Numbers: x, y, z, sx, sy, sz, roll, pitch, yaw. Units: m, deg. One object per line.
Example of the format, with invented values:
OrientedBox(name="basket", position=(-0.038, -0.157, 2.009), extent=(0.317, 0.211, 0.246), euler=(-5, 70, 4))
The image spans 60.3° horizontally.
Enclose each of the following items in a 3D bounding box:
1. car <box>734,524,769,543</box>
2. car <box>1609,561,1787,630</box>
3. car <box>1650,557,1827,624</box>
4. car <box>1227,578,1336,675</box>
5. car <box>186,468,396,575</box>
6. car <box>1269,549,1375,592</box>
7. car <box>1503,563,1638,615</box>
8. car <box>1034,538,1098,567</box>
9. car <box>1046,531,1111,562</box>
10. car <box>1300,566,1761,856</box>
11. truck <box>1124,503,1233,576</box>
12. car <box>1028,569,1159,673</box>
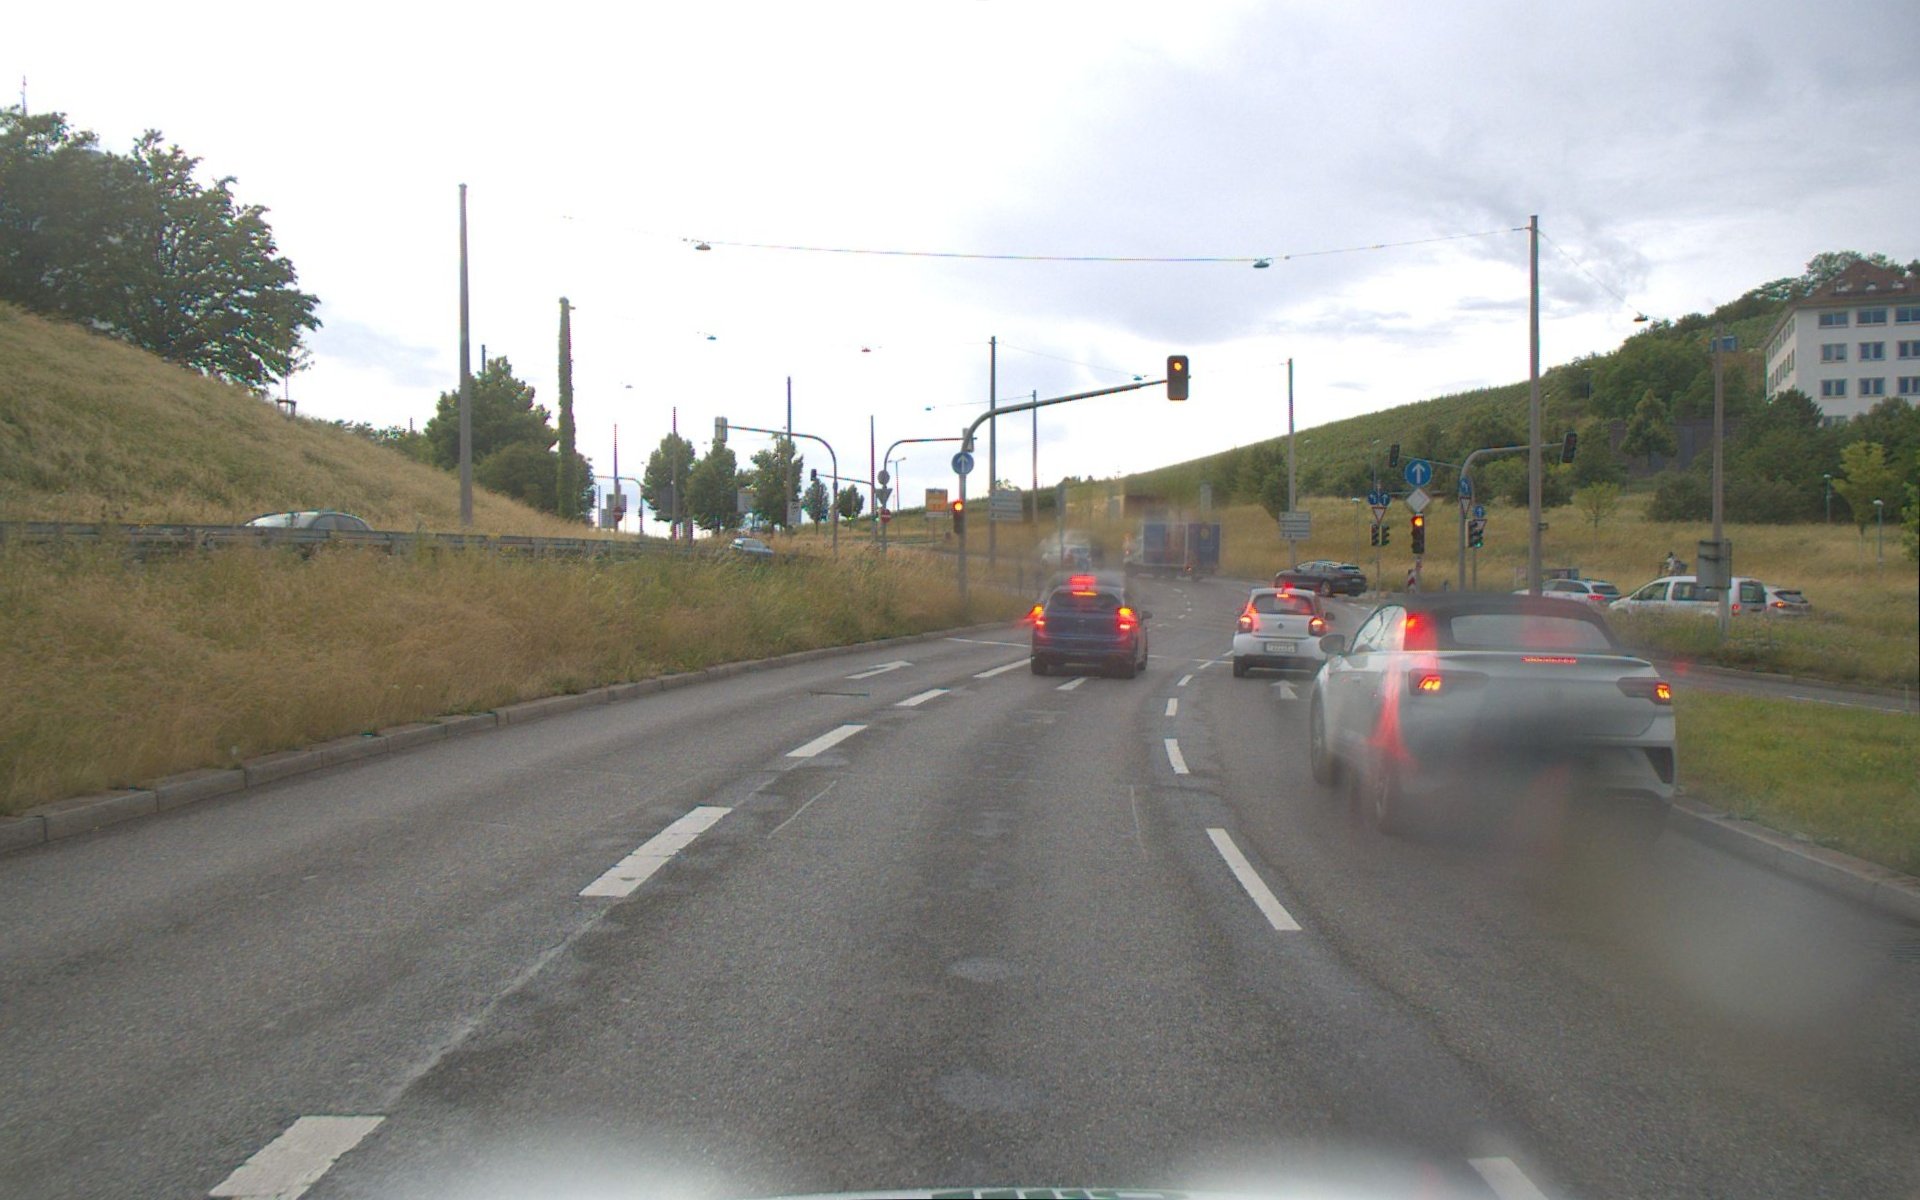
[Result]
OrientedBox(name="car", position=(-19.708, -6.284, 156.388), extent=(1.969, 1.741, 4.525), euler=(-2, 2, -26))
OrientedBox(name="car", position=(21.796, -0.189, 49.032), extent=(1.974, 1.741, 4.517), euler=(-2, 4, -31))
OrientedBox(name="car", position=(23.862, -0.337, 50.853), extent=(1.974, 1.741, 4.618), euler=(-2, 4, -31))
OrientedBox(name="car", position=(5.849, 0.428, 29.802), extent=(1.737, 1.545, 3.728), euler=(3, 1, 13))
OrientedBox(name="car", position=(-11.974, -1.360, 29.913), extent=(1.675, 1.685, 4.003), euler=(4, 1, 7))
OrientedBox(name="car", position=(16.278, -1.365, 74.630), extent=(1.979, 1.741, 4.505), euler=(-3, 5, -36))
OrientedBox(name="car", position=(22.566, -0.441, 61.316), extent=(1.971, 1.633, 4.523), euler=(0, 3, -28))
OrientedBox(name="car", position=(6.174, -2.810, 97.216), extent=(1.966, 1.526, 4.533), euler=(-2, 4, -23))
OrientedBox(name="car", position=(7.269, -3.336, 101.857), extent=(1.969, 1.741, 4.527), euler=(-2, 4, -26))
OrientedBox(name="car", position=(3.750, 0.617, 11.719), extent=(1.954, 1.606, 4.127), euler=(2, 1, 3))
OrientedBox(name="truck", position=(11.329, -3.229, 86.256), extent=(2.812, 3.587, 6.189), euler=(-2, 4, -24))
OrientedBox(name="car", position=(2.351, 0.327, 28.227), extent=(1.885, 1.627, 4.065), euler=(1, 0, 9))
